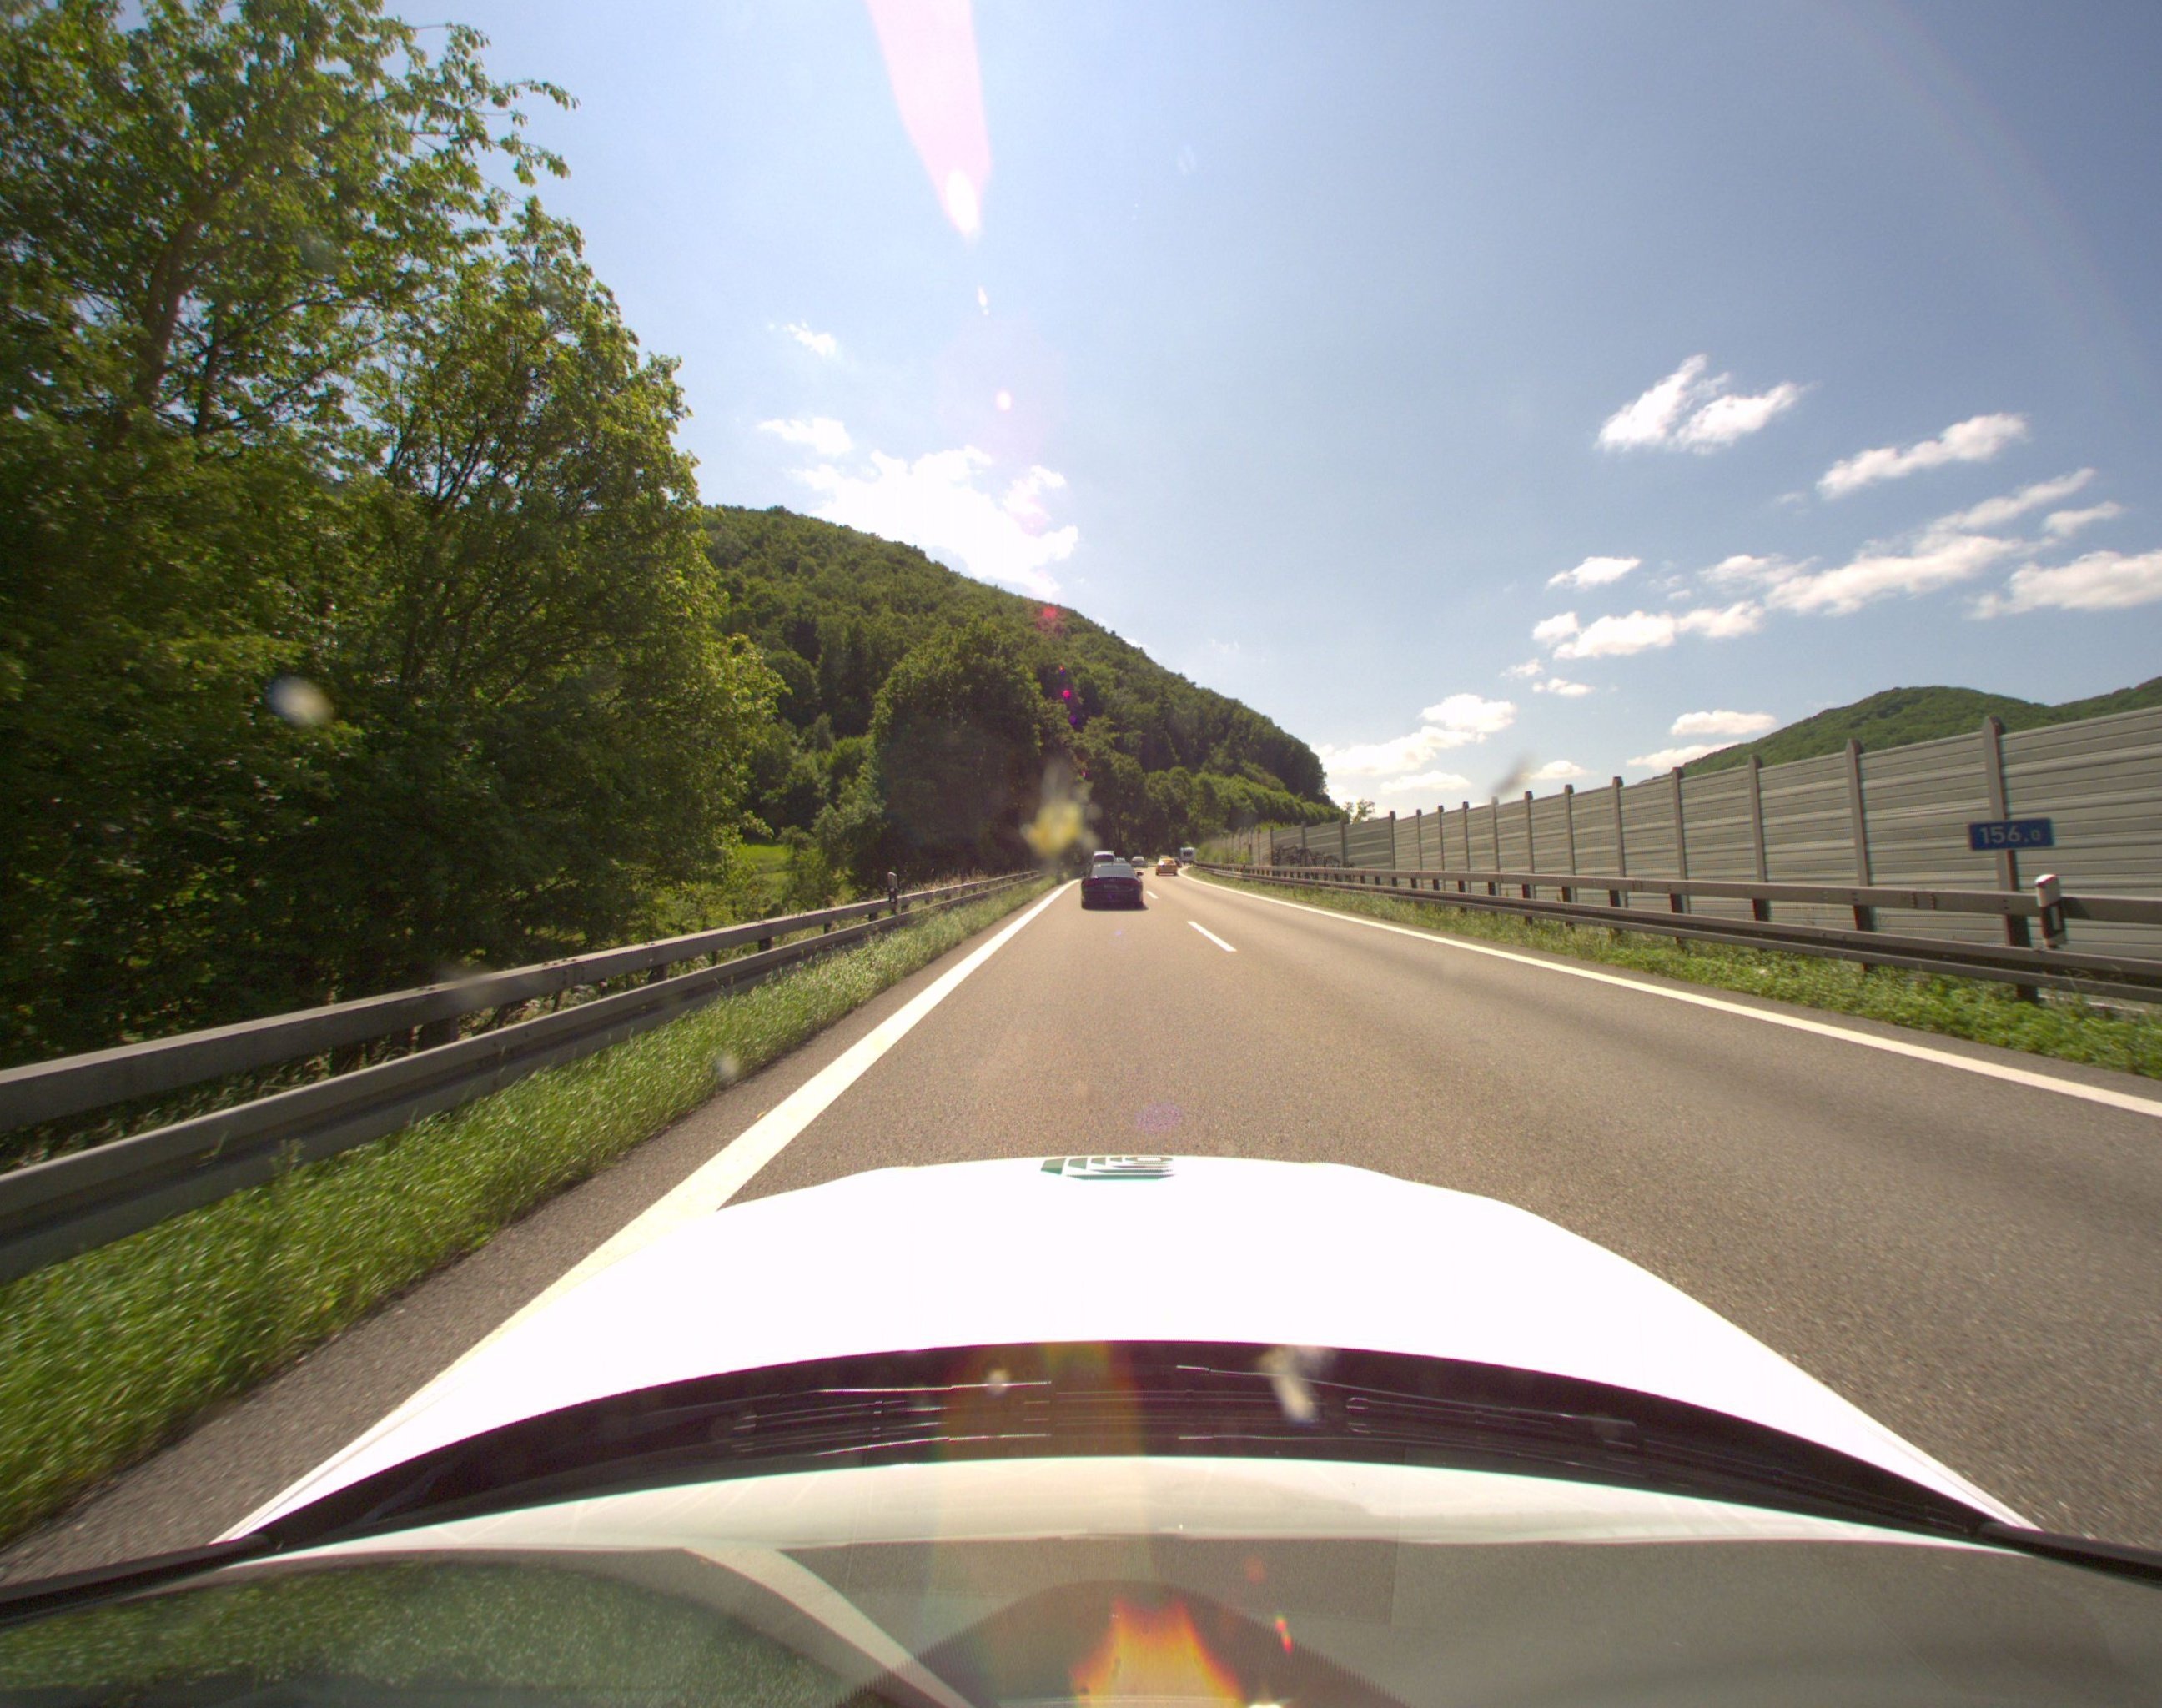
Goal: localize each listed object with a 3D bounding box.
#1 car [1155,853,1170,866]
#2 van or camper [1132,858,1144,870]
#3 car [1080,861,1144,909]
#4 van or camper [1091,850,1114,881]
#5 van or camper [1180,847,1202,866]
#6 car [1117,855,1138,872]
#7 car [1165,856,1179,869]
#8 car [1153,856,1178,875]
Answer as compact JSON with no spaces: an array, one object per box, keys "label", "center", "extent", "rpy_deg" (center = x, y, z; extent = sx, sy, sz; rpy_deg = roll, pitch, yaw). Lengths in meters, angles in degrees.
[{"label":"car","center":[13.228,0.922,132.349],"extent":[1.981,2.013,4.012],"rpy_deg":[-4,-1,10]},{"label":"van or camper","center":[7.598,1.365,107.672],"extent":[1.550,1.534,3.509],"rpy_deg":[-1,-1,4]},{"label":"car","center":[0.953,0.944,25.841],"extent":[1.831,1.349,4.001],"rpy_deg":[-2,-1,1]},{"label":"van or camper","center":[1.327,0.694,50.624],"extent":[1.386,1.816,4.001],"rpy_deg":[-1,-1,1]},{"label":"van or camper","center":[17.832,0.439,131.357],"extent":[2.436,2.918,6.153],"rpy_deg":[-1,-1,17]},{"label":"car","center":[4.203,0.864,73.592],"extent":[1.740,1.431,4.001],"rpy_deg":[-1,-1,2]},{"label":"car","center":[12.350,1.088,110.162],"extent":[1.764,1.637,4.007],"rpy_deg":[-4,-1,6]},{"label":"car","center":[7.224,0.977,70.003],"extent":[1.855,1.488,4.002],"rpy_deg":[-1,-1,2]}]
